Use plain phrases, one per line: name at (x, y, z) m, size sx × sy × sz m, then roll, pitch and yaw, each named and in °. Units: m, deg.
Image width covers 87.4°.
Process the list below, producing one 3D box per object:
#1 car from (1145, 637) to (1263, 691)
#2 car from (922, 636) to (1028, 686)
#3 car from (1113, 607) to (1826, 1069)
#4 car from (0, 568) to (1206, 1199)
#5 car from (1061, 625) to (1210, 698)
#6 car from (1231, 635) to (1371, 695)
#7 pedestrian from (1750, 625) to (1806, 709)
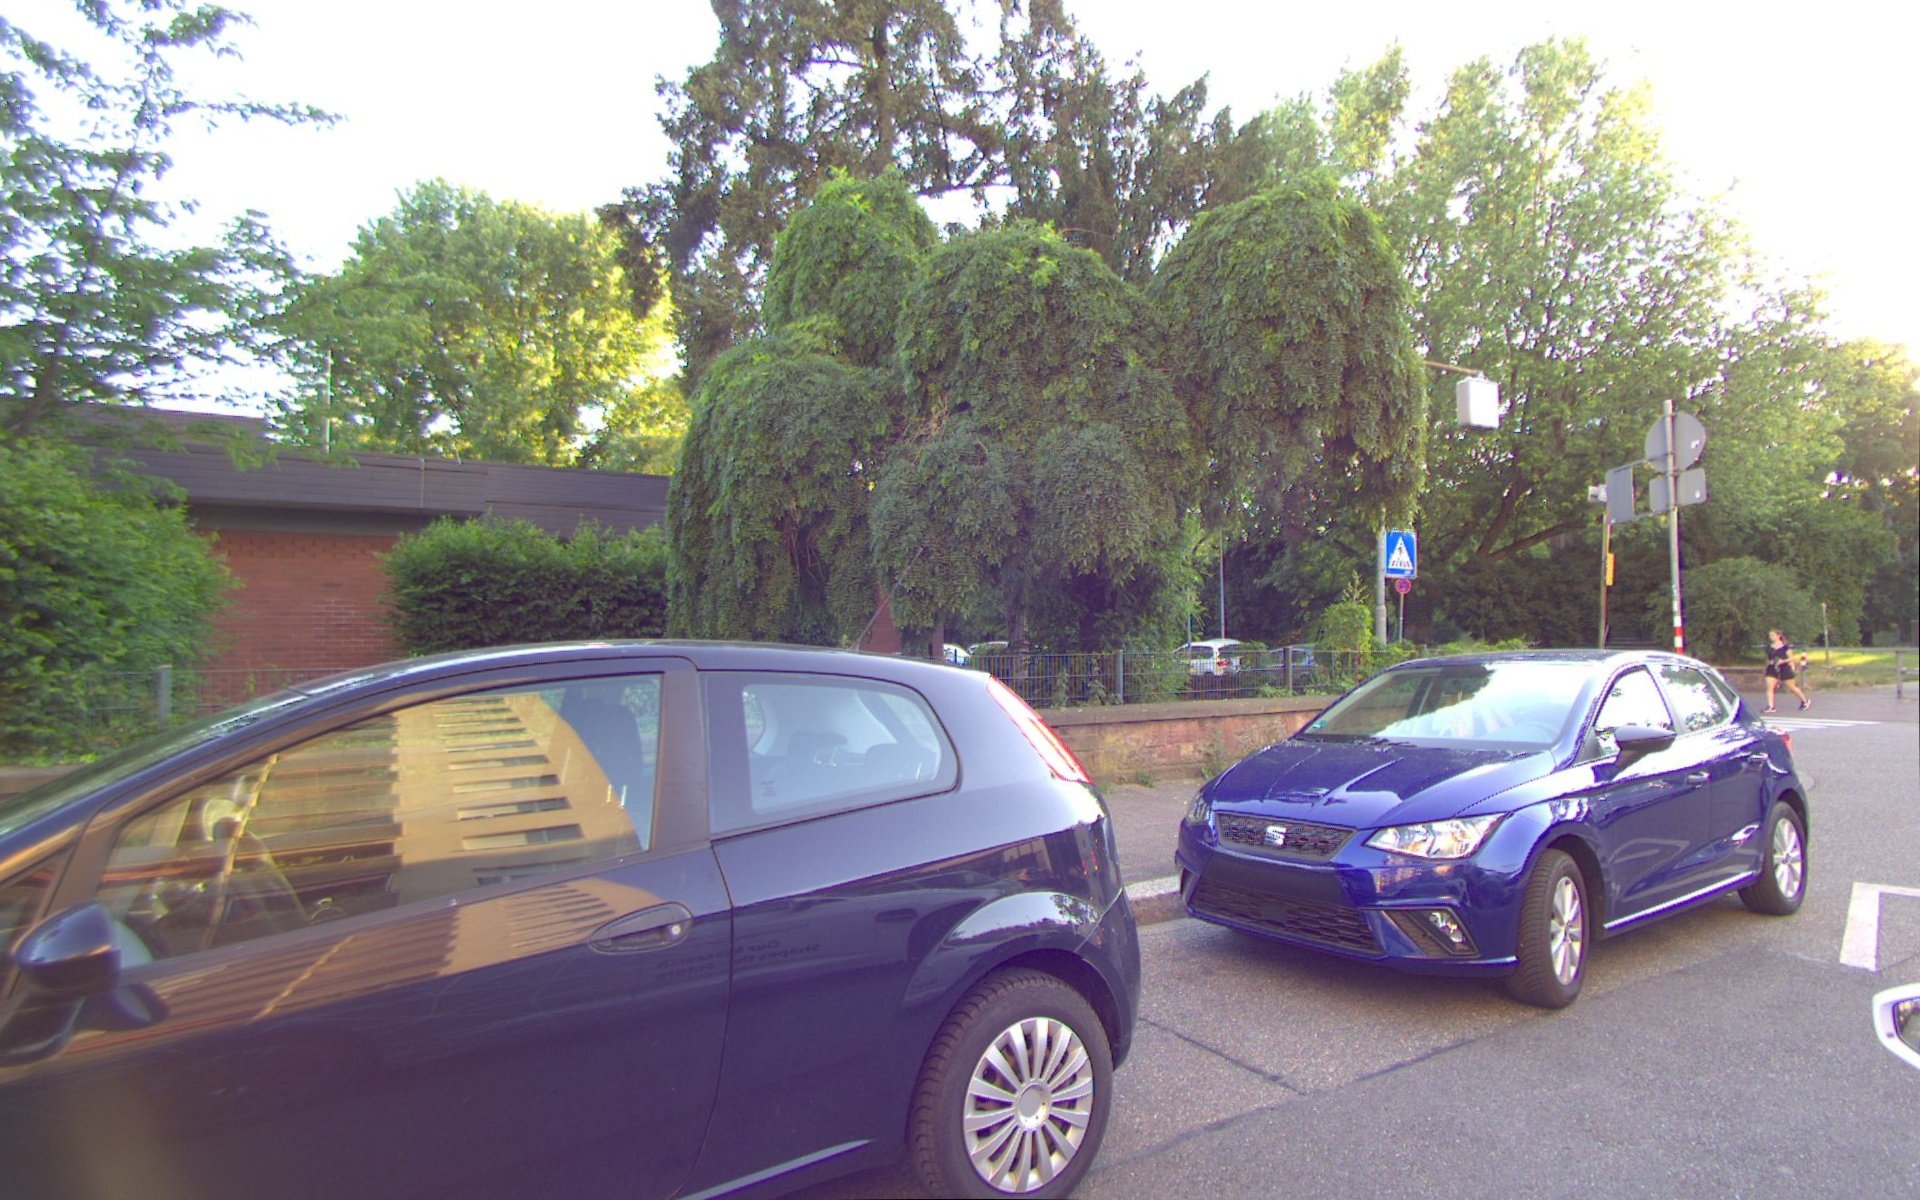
car at (8.446, 2.227, 35.081) m, size 1.800 × 1.583 × 3.856 m, roll -6°, pitch 0°, yaw -27°
car at (0.440, 2.132, 34.807) m, size 1.801 × 1.564 × 4.211 m, roll 4°, pitch -5°, yaw -28°
car at (2.789, 0.897, 5.272) m, size 3.752 × 1.587 × 1.723 m, roll 1°, pitch -4°, yaw -35°
car at (-1.301, 0.809, 2.552) m, size 3.659 × 1.587 × 1.723 m, roll 1°, pitch -4°, yaw -34°
car at (4.746, 1.721, 27.742) m, size 1.801 × 1.821 × 4.211 m, roll 4°, pitch -5°, yaw -28°
car at (10.330, 1.966, 30.709) m, size 1.798 × 1.511 × 3.843 m, roll -6°, pitch 0°, yaw -24°
pedestrian at (16.600, 1.344, 20.395) m, size 0.660 × 1.671 × 0.649 m, roll 0°, pitch 0°, yaw 12°
